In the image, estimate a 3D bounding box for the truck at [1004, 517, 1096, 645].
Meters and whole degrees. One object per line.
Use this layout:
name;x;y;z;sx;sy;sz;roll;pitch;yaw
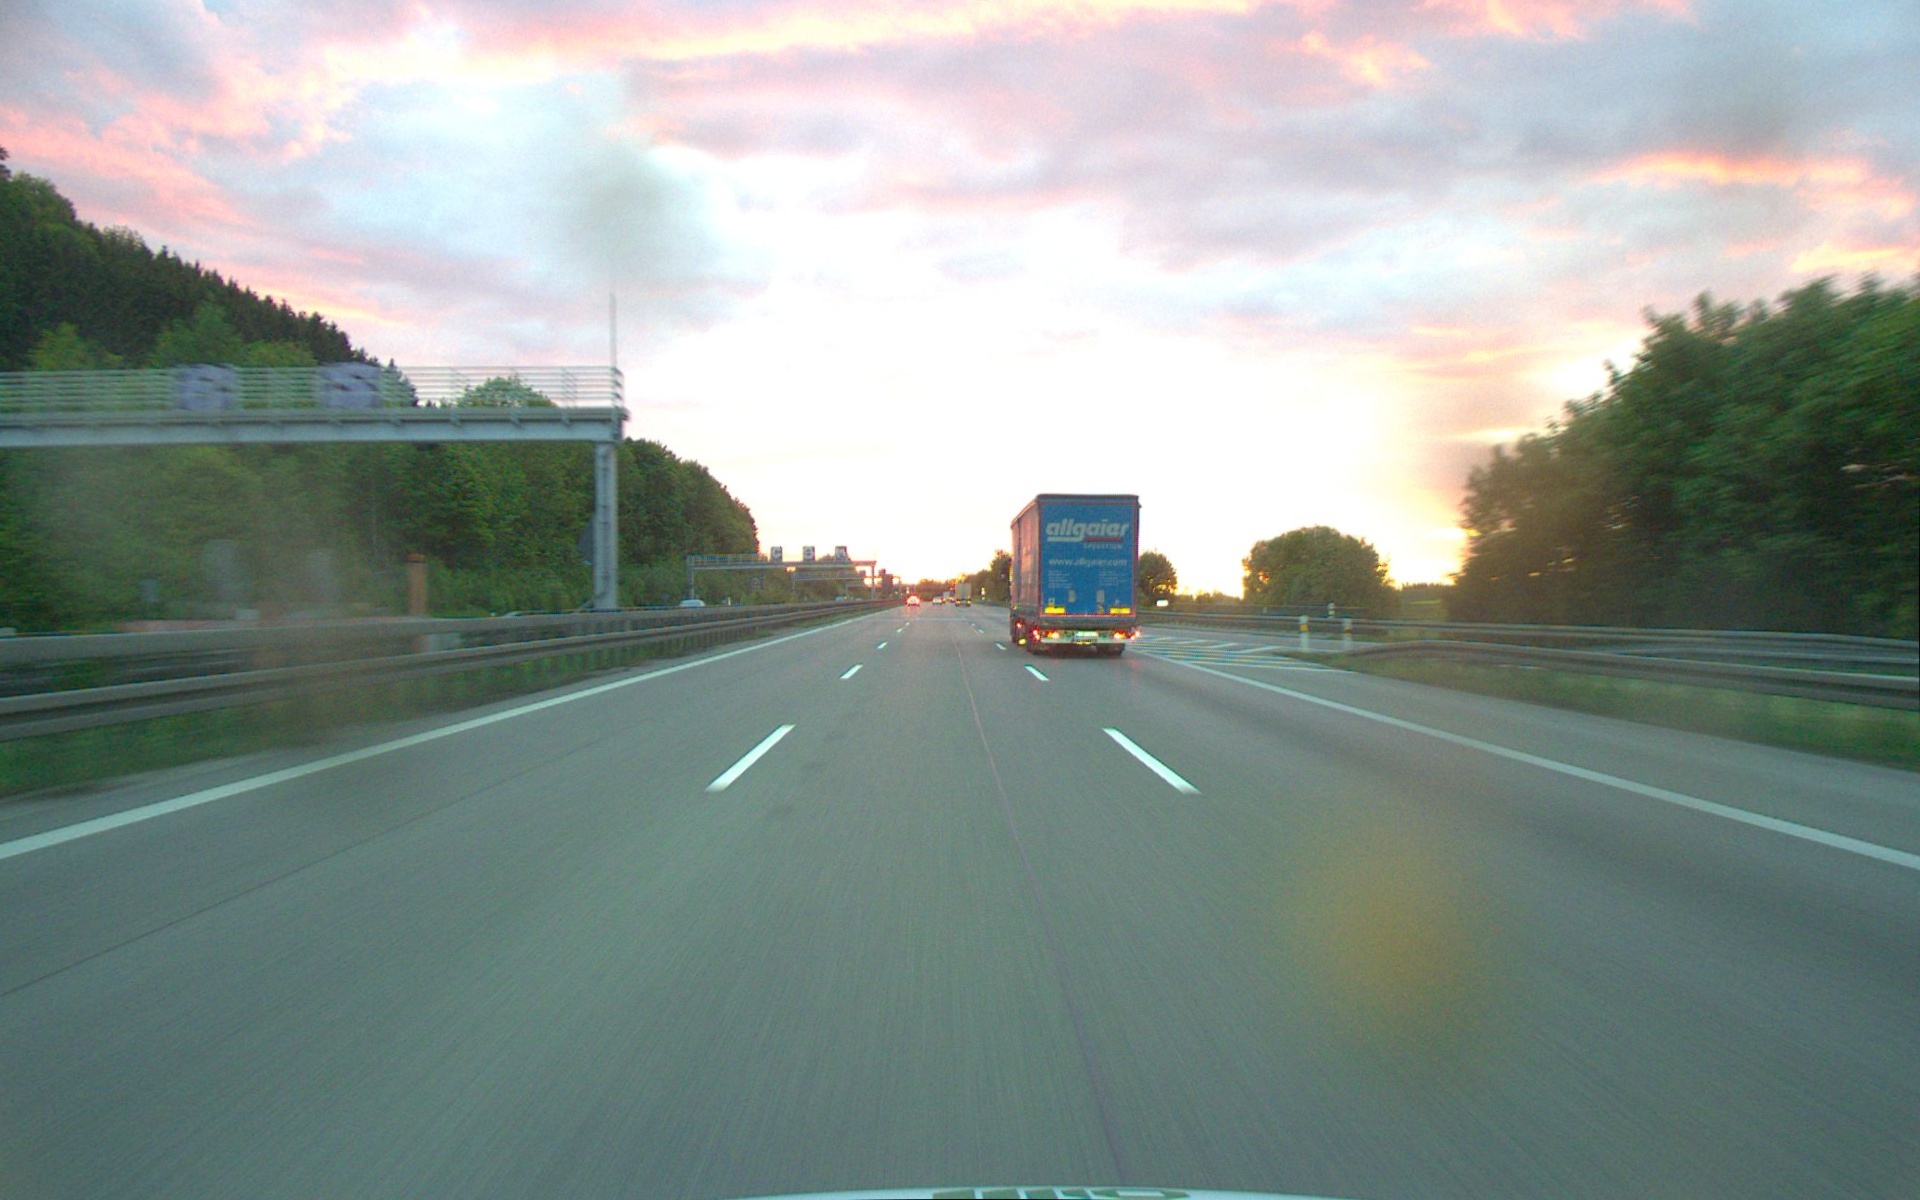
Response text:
truck;2.939;-0.594;55.407;2.681;4.066;5.848;0;0;-1

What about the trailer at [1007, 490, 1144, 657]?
trailer;3.083;-0.647;48.113;2.715;4.158;13.735;0;0;-1

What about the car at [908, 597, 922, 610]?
car;-6.898;0.492;252.216;1.972;1.780;3.902;-4;0;-1
